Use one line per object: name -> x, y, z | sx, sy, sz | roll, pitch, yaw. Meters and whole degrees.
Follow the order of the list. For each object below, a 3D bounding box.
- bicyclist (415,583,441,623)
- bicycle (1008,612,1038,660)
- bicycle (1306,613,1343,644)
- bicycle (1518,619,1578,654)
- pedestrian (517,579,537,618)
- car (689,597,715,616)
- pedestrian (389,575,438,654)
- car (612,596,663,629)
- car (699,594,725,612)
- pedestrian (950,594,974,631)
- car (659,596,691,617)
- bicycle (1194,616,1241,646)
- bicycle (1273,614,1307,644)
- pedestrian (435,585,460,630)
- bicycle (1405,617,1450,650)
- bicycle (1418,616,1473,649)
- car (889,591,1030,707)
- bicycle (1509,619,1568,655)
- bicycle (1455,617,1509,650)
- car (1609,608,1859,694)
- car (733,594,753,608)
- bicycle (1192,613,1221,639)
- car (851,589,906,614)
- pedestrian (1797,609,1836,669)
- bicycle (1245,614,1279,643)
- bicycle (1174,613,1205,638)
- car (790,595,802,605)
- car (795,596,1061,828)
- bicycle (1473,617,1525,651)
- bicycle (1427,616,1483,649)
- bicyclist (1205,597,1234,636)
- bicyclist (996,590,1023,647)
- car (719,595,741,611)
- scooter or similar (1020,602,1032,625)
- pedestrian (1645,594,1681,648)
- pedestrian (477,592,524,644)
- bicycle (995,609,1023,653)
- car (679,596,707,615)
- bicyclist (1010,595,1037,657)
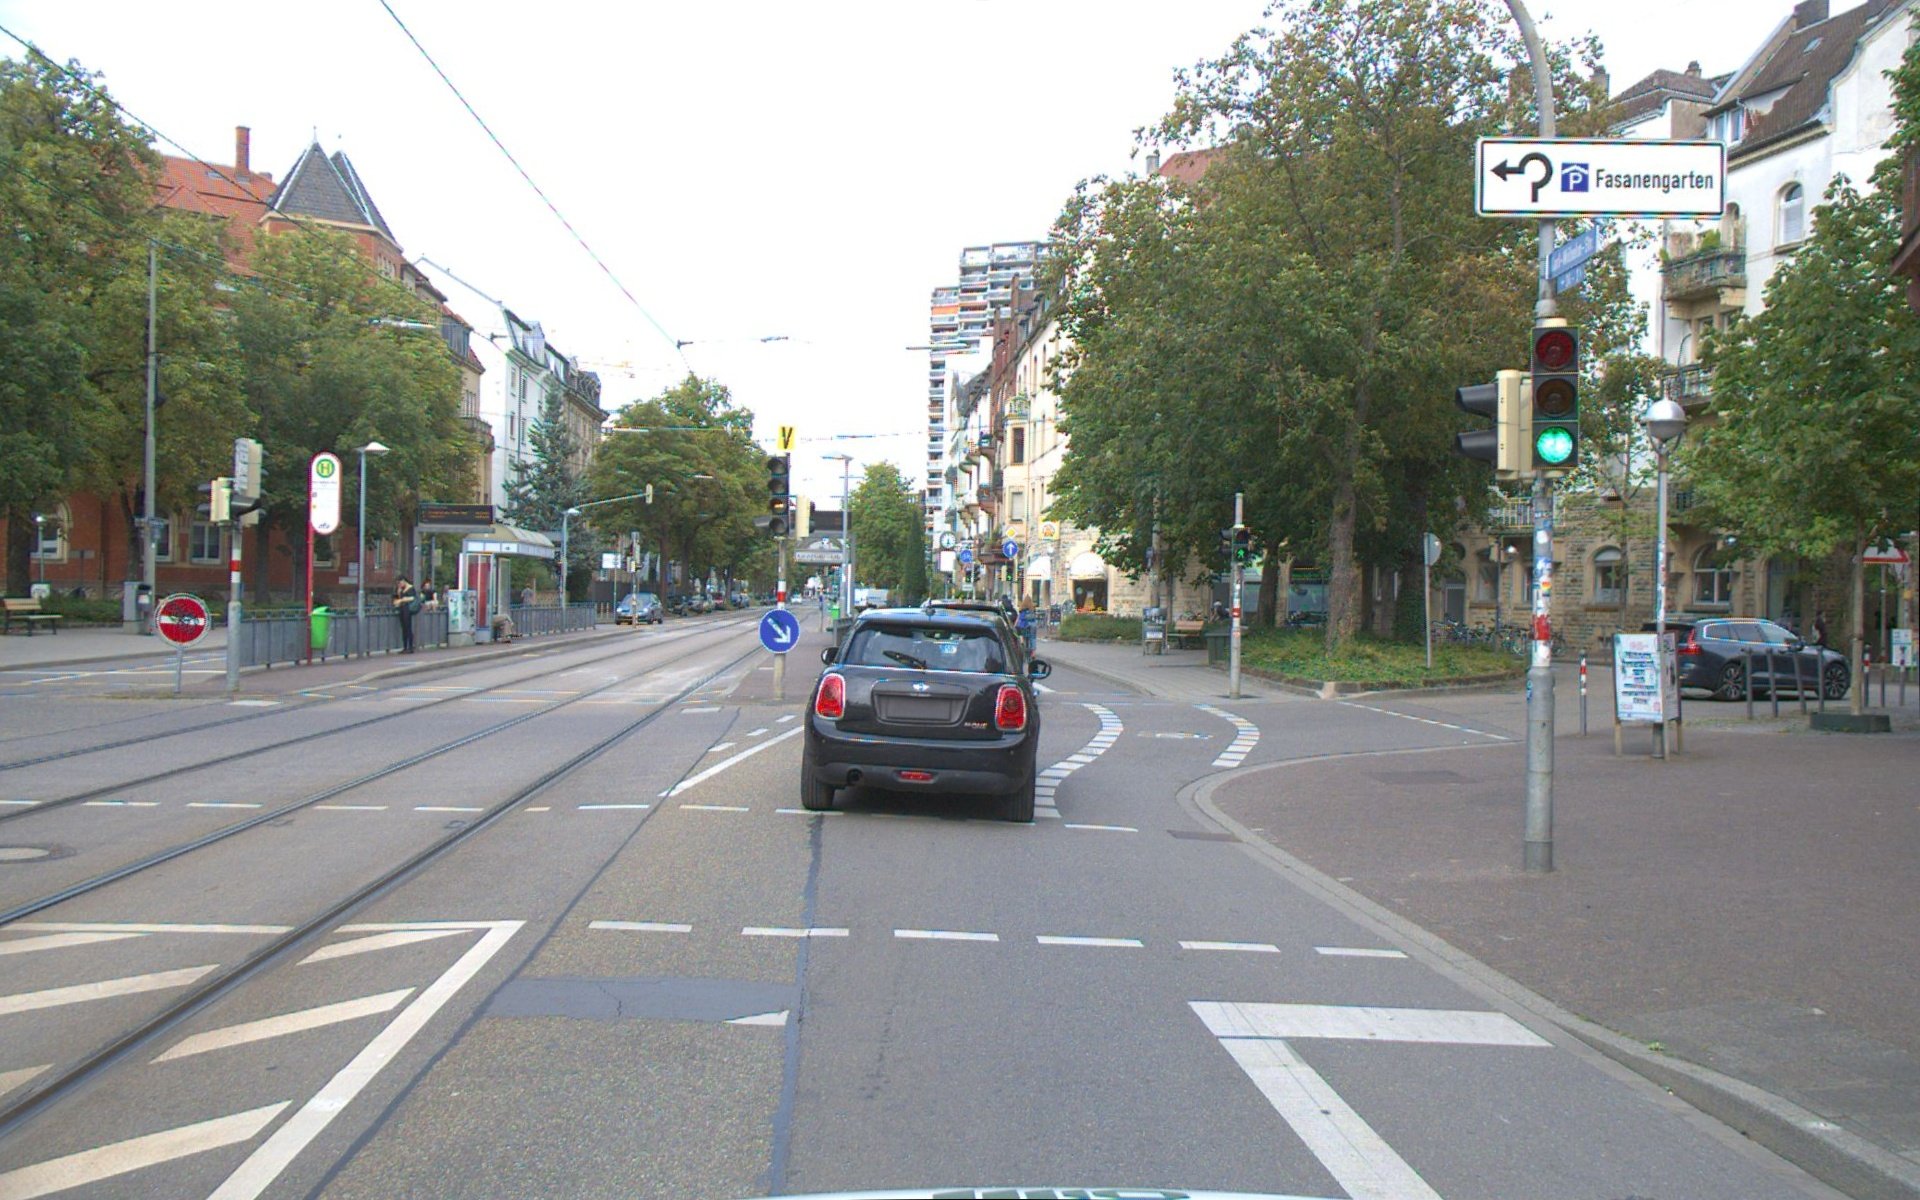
bicyclist -> -18.352, 0.098, 57.105 | 0.647, 1.363, 0.835 | 1, 0, -4
bicycle -> 1.612, 0.913, 42.640 | 0.586, 1.191, 1.695 | 1, 0, -4
bicycle -> 14.062, 1.097, 63.839 | 0.654, 1.147, 1.885 | 1, 0, 38
bicycle -> 19.561, 1.219, 55.011 | 1.852, 1.147, 0.532 | 1, 0, -8
pedestrian -> -20.469, -0.072, 78.165 | 0.716, 1.815, 0.835 | 1, 0, -4
car -> -20.659, 0.516, 132.647 | 1.732, 1.420, 3.996 | 1, 0, -5
pedestrian -> -11.565, 0.307, 35.014 | 0.836, 1.649, 0.841 | 1, 0, -9
car -> -15.456, 0.583, 79.441 | 1.717, 1.466, 3.998 | 3, 0, -2
car -> -22.684, 0.246, 151.583 | 1.954, 1.579, 3.997 | 1, 0, -4
pedestrian -> 0.093, 0.600, 78.321 | 0.720, 1.703, 0.830 | -2, 0, 42
car -> -19.452, 0.436, 112.998 | 1.732, 1.420, 3.996 | 1, 0, -5
bicycle -> 10.042, 1.209, 64.561 | 1.788, 1.095, 0.613 | 1, 0, 42
bicycle -> 12.958, 1.130, 64.982 | 0.522, 1.147, 1.885 | 1, 0, 38
pedestrian -> -20.008, 0.299, 64.578 | 0.817, 1.733, 0.731 | 1, 0, -9
bicycle -> 17.062, 1.199, 60.347 | 1.872, 1.147, 0.526 | -1, 1, -35
bicycle -> 17.512, 1.169, 59.666 | 1.854, 1.147, 0.561 | 1, 0, -13
car -> -0.058, 0.659, 24.308 | 1.888, 1.536, 3.999 | 1, 0, -2
bicycle -> 19.442, 1.243, 55.588 | 1.852, 1.147, 0.532 | 1, 0, -8
bicycle -> 18.343, 1.184, 58.073 | 1.860, 1.147, 0.579 | 1, 0, -21
car -> 14.116, 0.907, 30.136 | 4.408, 1.466, 1.743 | 1, 0, -26
car -> -25.005, 0.092, 190.692 | 1.954, 1.579, 3.997 | 1, 0, -4
bicycle -> 10.120, 1.063, 67.864 | 0.441, 1.073, 1.642 | 1, 0, 38
car -> -7.771, 0.185, 158.229 | 5.001, 2.312, 2.358 | 1, 0, -45
pedestrian -> 24.337, 1.104, 47.009 | 0.815, 1.651, 0.733 | 1, 0, 16
bicycle -> 12.002, 1.121, 65.758 | 0.522, 1.147, 1.885 | 1, 0, 38
bicycle -> 9.577, 1.055, 68.976 | 0.591, 0.989, 1.667 | 1, 0, 33
car -> -25.633, -0.021, 257.958 | 1.732, 1.420, 3.996 | 1, 0, -5
car -> -0.151, 0.748, 13.045 | 1.715, 1.466, 4.001 | 3, 0, 2
bicycle -> 18.688, 1.192, 57.337 | 1.865, 1.147, 0.589 | 1, 0, -27
bicycle -> 17.688, 1.171, 59.092 | 1.854, 1.147, 0.597 | 1, 0, -13
bicyclist -> 10.122, 0.636, 64.496 | 0.899, 1.498, 0.613 | 1, 0, 41
bicyclist -> 1.389, 0.511, 46.590 | 0.670, 1.591, 0.998 | 1, 0, -2
car -> -24.257, 0.324, 174.482 | 1.954, 1.579, 3.997 | 1, 0, -4
scooter or similar -> 3.489, 0.729, 87.495 | 0.498, 1.209, 1.260 | 1, 0, -4
pedestrian -> 22.599, 0.659, 53.205 | 0.717, 1.705, 0.833 | 1, 0, -11
pedestrian -> -11.929, 0.465, 42.977 | 1.039, 1.316, 0.984 | 1, 0, -9
bicycle -> 1.380, 0.864, 46.595 | 0.670, 1.191, 1.696 | 1, 0, -2
car -> -20.164, 0.419, 124.995 | 1.732, 1.420, 3.996 | 1, 0, -5
bicyclist -> 1.621, 0.671, 42.638 | 0.582, 1.577, 1.013 | 1, 0, -4
